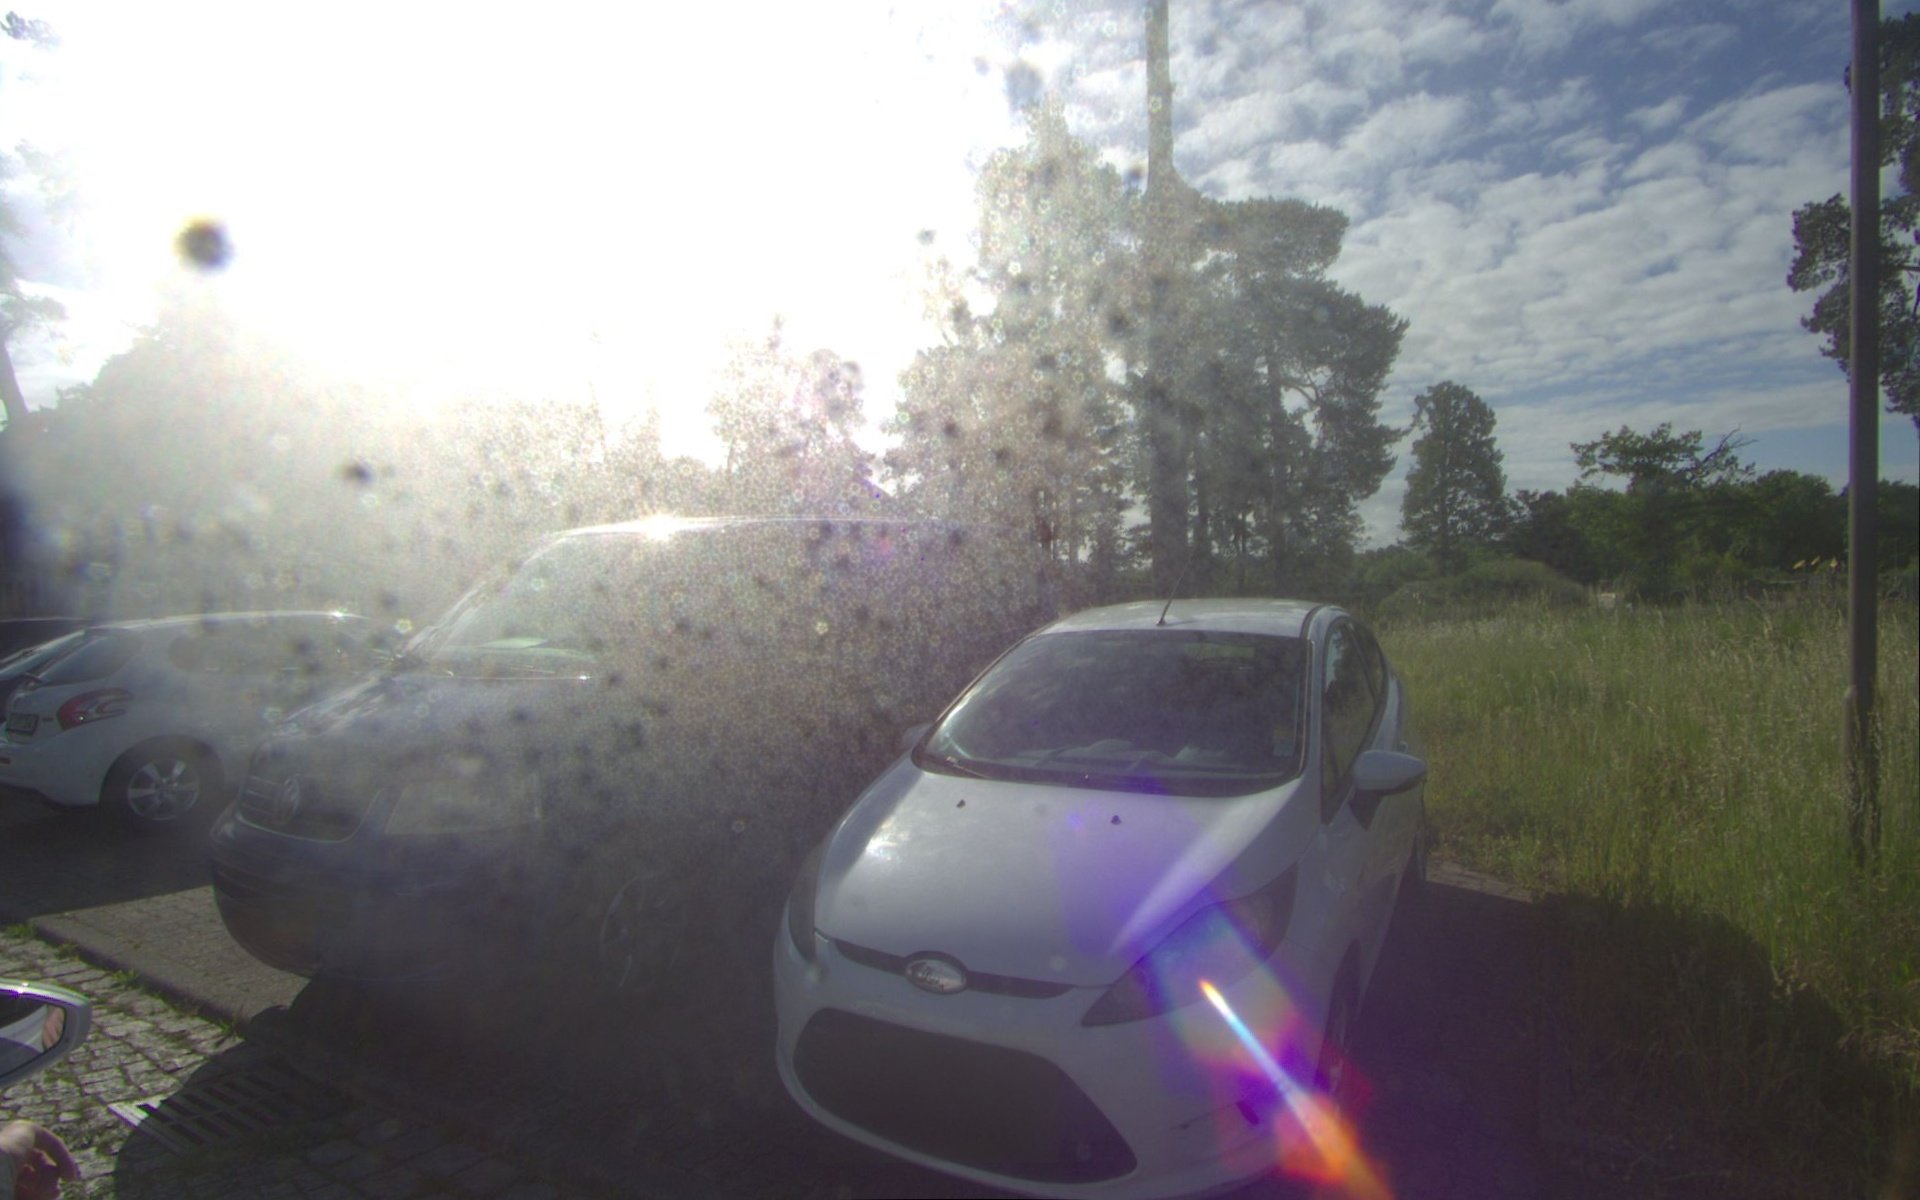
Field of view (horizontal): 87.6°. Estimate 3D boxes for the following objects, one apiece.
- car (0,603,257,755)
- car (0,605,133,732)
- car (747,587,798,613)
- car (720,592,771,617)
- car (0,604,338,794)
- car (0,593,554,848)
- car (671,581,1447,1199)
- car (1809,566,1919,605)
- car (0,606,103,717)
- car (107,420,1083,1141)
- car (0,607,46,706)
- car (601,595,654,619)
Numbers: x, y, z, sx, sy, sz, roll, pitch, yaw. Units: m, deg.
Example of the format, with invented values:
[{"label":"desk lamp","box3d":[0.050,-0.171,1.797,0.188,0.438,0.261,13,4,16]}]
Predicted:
[{"label":"car","box3d":[-10.328,0.837,11.372,1.621,1.550,3.472,0,1,30]},{"label":"car","box3d":[-12.775,0.865,12.458,1.621,1.550,3.472,0,1,30]},{"label":"car","box3d":[-15.440,-0.030,82.424,1.971,2.040,3.979,0,1,32]},{"label":"car","box3d":[-17.985,0.362,84.158,1.971,2.040,3.979,0,1,32]},{"label":"car","box3d":[-8.188,0.842,9.360,1.621,1.487,3.668,0,1,30]},{"label":"car","box3d":[-5.508,0.759,8.287,1.622,1.486,3.684,0,2,32]},{"label":"car","box3d":[0.860,0.705,3.862,1.620,1.508,3.713,0,1,29]},{"label":"car","box3d":[56.550,-0.872,61.808,2.345,2.200,5.976,-1,-1,-34]},{"label":"car","box3d":[-14.563,0.887,13.985,1.621,1.550,3.597,0,1,30]},{"label":"car","box3d":[-1.226,0.504,5.368,2.053,2.040,4.668,0,1,31]},{"label":"car","box3d":[-16.536,0.912,14.884,1.620,1.550,4.030,0,0,28]},{"label":"car","box3d":[-28.367,0.585,85.548,1.971,2.040,3.979,0,1,32]}]
